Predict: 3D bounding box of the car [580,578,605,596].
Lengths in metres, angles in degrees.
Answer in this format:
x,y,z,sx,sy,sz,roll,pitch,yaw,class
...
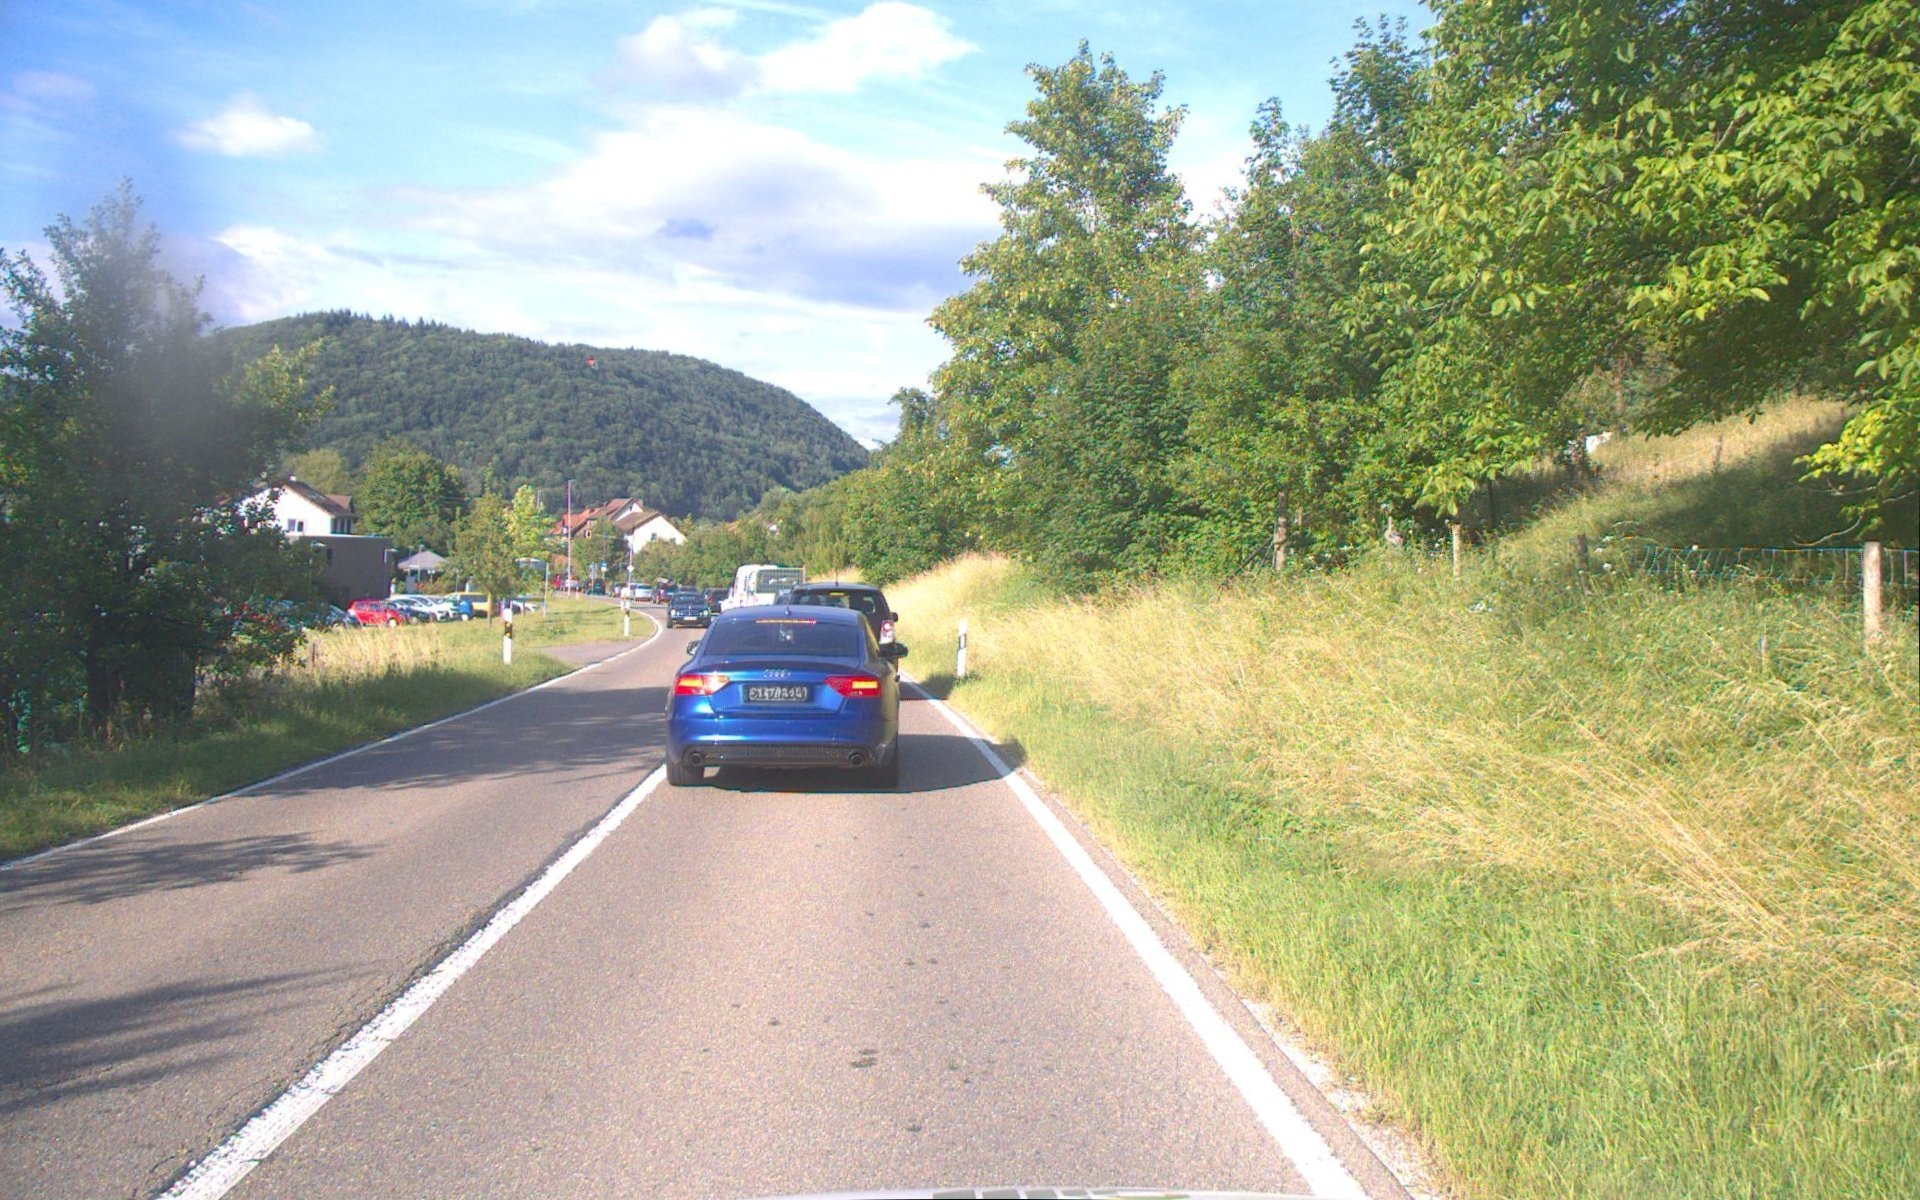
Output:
x,y,z,sx,sy,sz,roll,pitch,yaw,class
-37.864,-1.345,170.359,1.821,1.742,3.971,1,0,-23,car

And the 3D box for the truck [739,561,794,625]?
x,y,z,sx,sy,sz,roll,pitch,yaw,class
-8.415,-0.295,71.869,2.187,2.615,6.697,1,0,-7,truck

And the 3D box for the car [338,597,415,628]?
x,y,z,sx,sy,sz,roll,pitch,yaw,class
-34.695,0.746,98.435,3.912,1.741,1.996,1,0,-8,car

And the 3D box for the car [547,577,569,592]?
x,y,z,sx,sy,sz,roll,pitch,yaw,class
-46.388,-1.789,190.927,1.821,1.742,3.971,1,0,-23,car

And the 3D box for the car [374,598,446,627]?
x,y,z,sx,sy,sz,roll,pitch,yaw,class
-34.244,0.773,103.072,3.912,1.741,1.996,1,0,-8,car

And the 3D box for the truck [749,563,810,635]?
x,y,z,sx,sy,sz,roll,pitch,yaw,class
-6.957,-0.033,64.013,2.187,2.615,6.096,1,0,-6,truck

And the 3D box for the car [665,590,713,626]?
x,y,z,sx,sy,sz,roll,pitch,yaw,class
-10.833,0.305,66.340,1.563,1.377,4.198,1,0,-5,car

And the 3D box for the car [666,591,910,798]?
x,y,z,sx,sy,sz,roll,pitch,yaw,class
-1.295,0.683,13.737,1.719,1.455,3.844,1,0,-2,car

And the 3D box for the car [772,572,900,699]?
x,y,z,sx,sy,sz,roll,pitch,yaw,class
-1.829,0.491,24.387,1.720,1.710,3.843,1,0,-5,car

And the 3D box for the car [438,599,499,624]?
x,y,z,sx,sy,sz,roll,pitch,yaw,class
-35.202,0.822,118.560,3.912,1.741,1.996,1,0,-8,car

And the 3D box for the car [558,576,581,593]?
x,y,z,sx,sy,sz,roll,pitch,yaw,class
-43.254,-1.707,183.111,1.821,1.742,3.971,1,0,-23,car

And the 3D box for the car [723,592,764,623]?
x,y,z,sx,sy,sz,roll,pitch,yaw,class
-10.962,0.375,83.497,1.812,1.508,3.989,1,0,-11,car

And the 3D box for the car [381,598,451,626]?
x,y,z,sx,sy,sz,roll,pitch,yaw,class
-35.053,0.774,106.662,3.912,1.741,1.996,1,0,-8,car

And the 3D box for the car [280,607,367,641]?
x,y,z,sx,sy,sz,roll,pitch,yaw,class
-33.748,1.276,87.751,3.912,1.741,1.996,1,0,-8,car

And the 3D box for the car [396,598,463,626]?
x,y,z,sx,sy,sz,roll,pitch,yaw,class
-35.262,0.784,109.938,3.912,1.741,1.996,1,0,-8,car

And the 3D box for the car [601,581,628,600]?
x,y,z,sx,sy,sz,roll,pitch,yaw,class
-32.946,-0.892,157.699,1.821,1.742,3.971,1,0,-23,car

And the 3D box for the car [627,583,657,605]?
x,y,z,sx,sy,sz,roll,pitch,yaw,class
-26.839,-0.502,139.479,1.819,1.742,3.976,1,0,-21,car

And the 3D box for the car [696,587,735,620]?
x,y,z,sx,sy,sz,roll,pitch,yaw,class
-13.598,0.182,91.925,1.814,1.742,3.986,1,0,-13,car

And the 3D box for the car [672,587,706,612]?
x,y,z,sx,sy,sz,roll,pitch,yaw,class
-19.552,-0.011,119.231,1.817,1.742,3.978,1,0,-19,car

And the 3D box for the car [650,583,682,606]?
x,y,z,sx,sy,sz,roll,pitch,yaw,class
-23.016,-0.433,129.399,1.817,1.742,3.978,1,0,-19,car

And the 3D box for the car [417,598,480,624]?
x,y,z,sx,sy,sz,roll,pitch,yaw,class
-35.747,0.800,115.699,3.912,1.741,1.996,1,0,-8,car

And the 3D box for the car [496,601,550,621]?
x,y,z,sx,sy,sz,roll,pitch,yaw,class
-35.091,0.884,132.898,3.912,1.606,1.749,1,0,-8,car

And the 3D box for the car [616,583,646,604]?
x,y,z,sx,sy,sz,roll,pitch,yaw,class
-29.186,-0.567,146.823,1.821,1.742,3.971,1,0,-23,car
